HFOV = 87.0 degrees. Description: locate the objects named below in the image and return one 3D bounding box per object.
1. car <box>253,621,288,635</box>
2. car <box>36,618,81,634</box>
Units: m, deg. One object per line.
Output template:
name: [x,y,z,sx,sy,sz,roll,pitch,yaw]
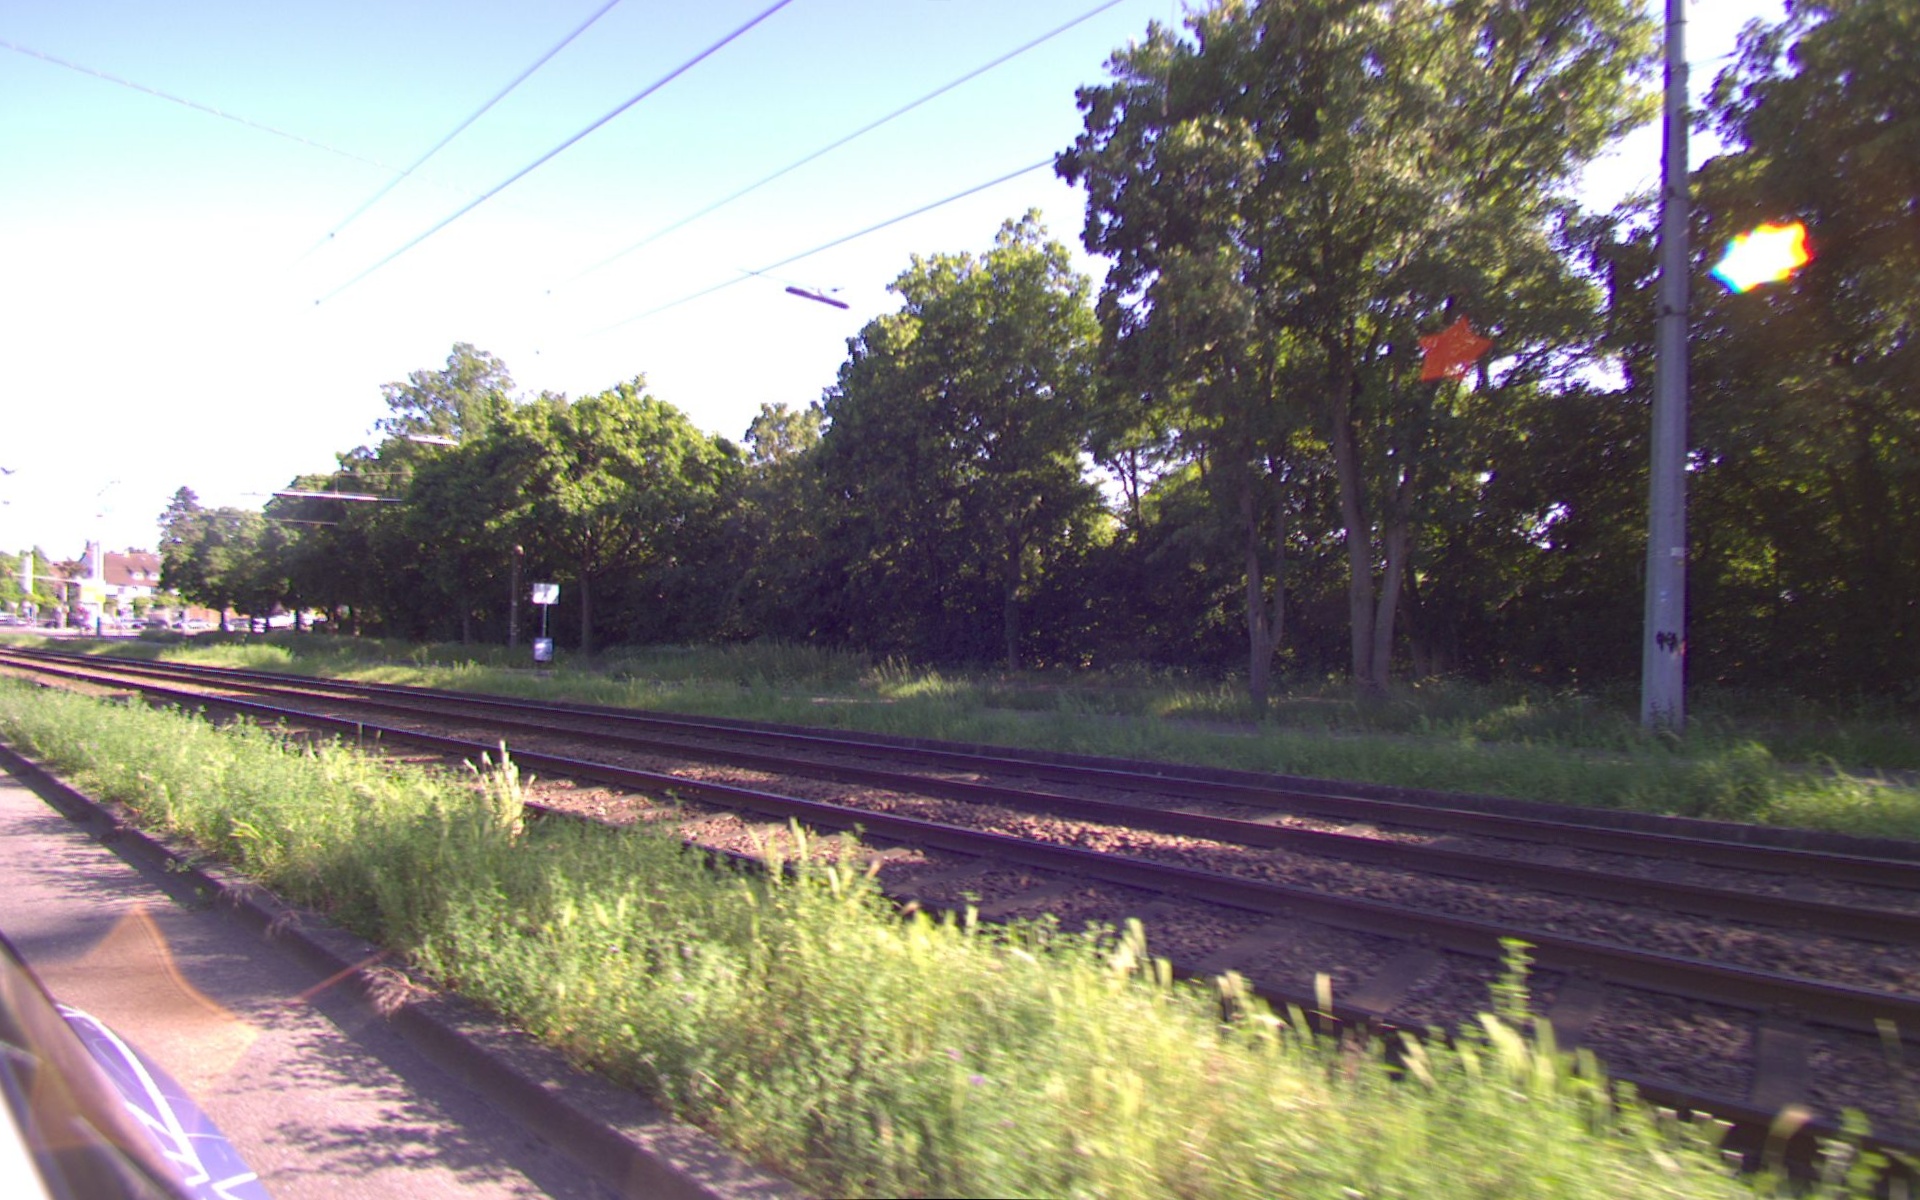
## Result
car: [-104.901,4.203,154.016,1.958,1.962,3.972,-1,0,21]
car: [-119.232,3.408,133.844,1.958,1.962,3.972,-1,0,21]
